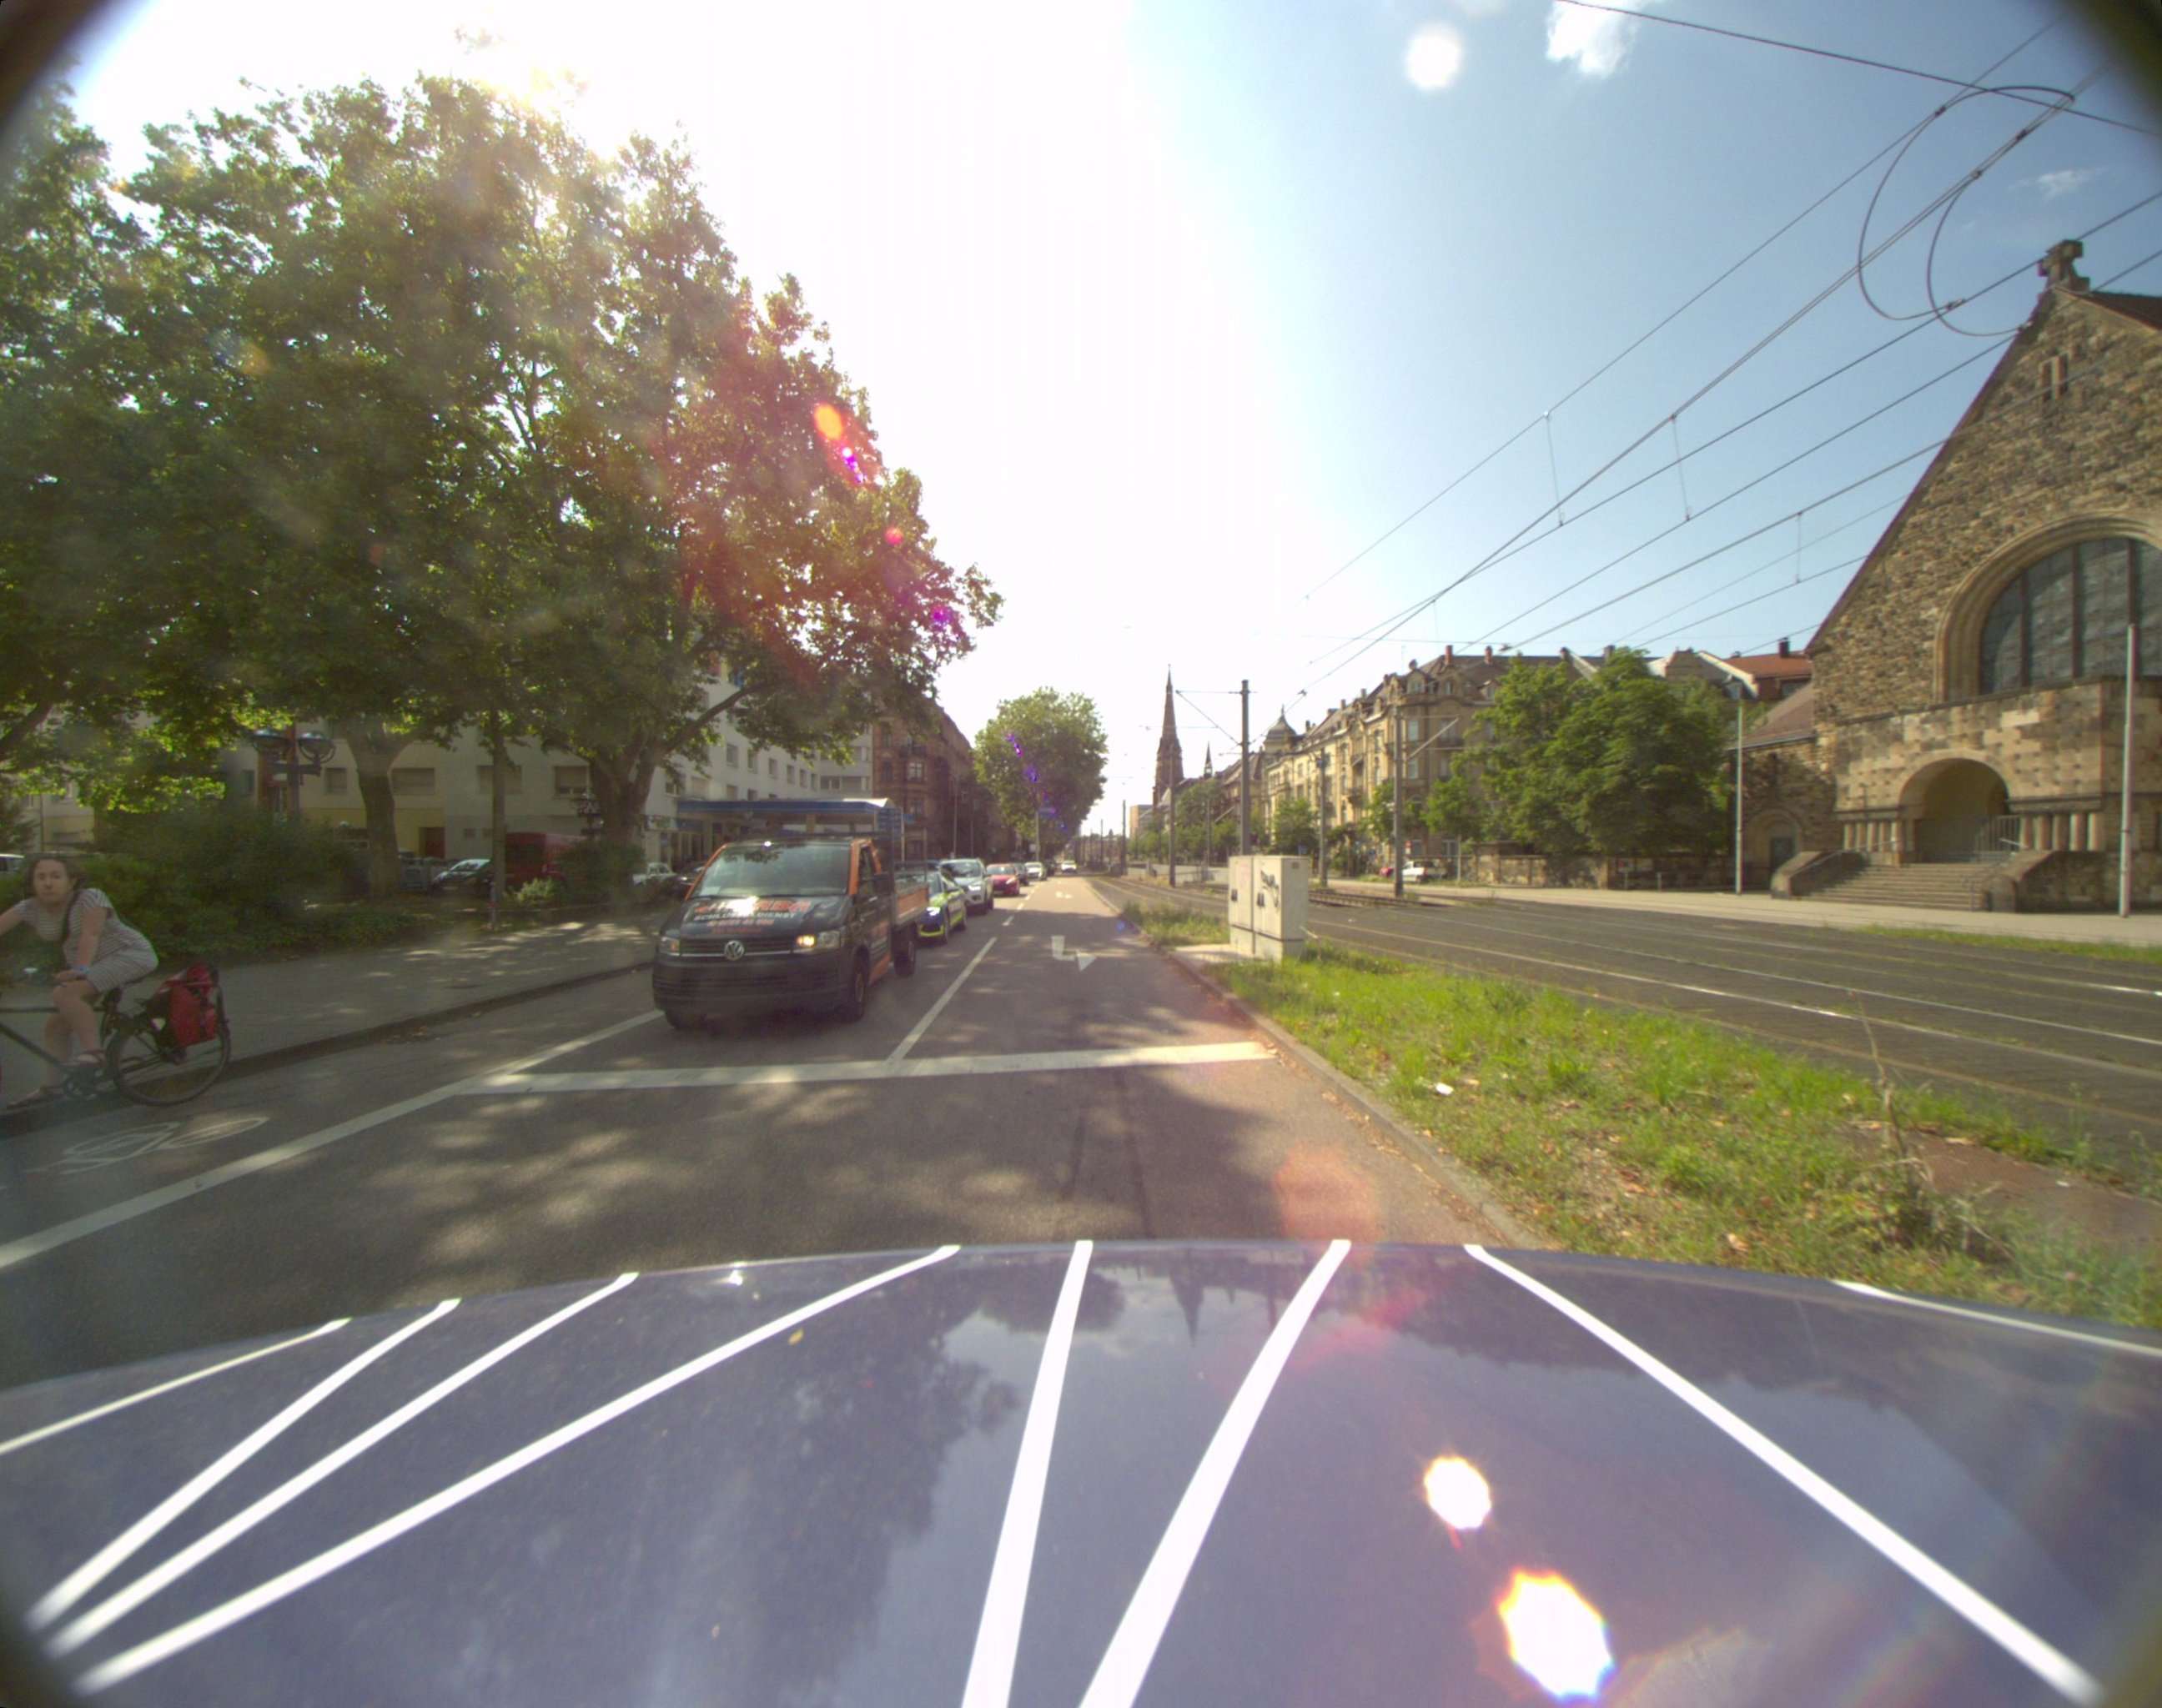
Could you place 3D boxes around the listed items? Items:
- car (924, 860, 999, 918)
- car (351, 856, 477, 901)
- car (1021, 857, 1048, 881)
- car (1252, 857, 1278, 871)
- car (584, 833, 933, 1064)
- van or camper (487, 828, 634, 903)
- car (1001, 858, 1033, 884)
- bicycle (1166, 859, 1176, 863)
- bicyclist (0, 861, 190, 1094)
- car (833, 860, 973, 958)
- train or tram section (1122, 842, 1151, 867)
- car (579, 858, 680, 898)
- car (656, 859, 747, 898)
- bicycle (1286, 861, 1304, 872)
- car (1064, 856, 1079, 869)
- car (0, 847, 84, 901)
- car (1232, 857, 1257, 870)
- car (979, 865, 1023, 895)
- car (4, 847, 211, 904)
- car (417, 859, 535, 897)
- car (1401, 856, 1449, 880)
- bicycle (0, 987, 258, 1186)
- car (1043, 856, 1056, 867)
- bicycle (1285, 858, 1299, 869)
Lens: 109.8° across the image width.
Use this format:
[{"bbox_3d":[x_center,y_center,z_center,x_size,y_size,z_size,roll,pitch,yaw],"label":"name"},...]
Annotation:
[{"bbox_3d":[-3.644,1.003,23.885,1.765,1.597,4.678,0,0,-2],"label":"car"},{"bbox_3d":[-26.065,0.892,29.879,1.530,1.594,3.999,-1,0,-3],"label":"car"},{"bbox_3d":[-3.602,1.121,59.078,1.952,1.598,5.073,0,2,-2],"label":"car"},{"bbox_3d":[20.741,1.105,85.821,1.690,1.493,4.707,-1,0,-1],"label":"car"},{"bbox_3d":[-3.262,0.734,9.173,2.080,1.975,5.333,0,2,-2],"label":"car"},{"bbox_3d":[-20.563,0.411,30.405,2.107,2.626,5.348,-2,0,0],"label":"van or camper"},{"bbox_3d":[-3.926,1.021,46.937,1.765,1.490,4.186,0,1,-2],"label":"car"},{"bbox_3d":[18.875,1.448,159.509,1.821,0.897,0.603,-2,1,-5],"label":"bicycle"},{"bbox_3d":[-6.434,0.716,4.806,0.470,1.336,0.910,0,1,7],"label":"bicyclist"},{"bbox_3d":[-3.573,1.010,16.260,1.872,1.642,5.152,-2,0,-2],"label":"car"},{"bbox_3d":[8.237,0.072,114.542,2.861,3.559,12.831,0,0,-3],"label":"train or tram section"},{"bbox_3d":[-17.695,0.897,30.007,1.757,1.402,3.999,-1,0,-3],"label":"car"},{"bbox_3d":[-14.970,0.930,30.247,1.757,1.402,3.999,-1,0,-3],"label":"car"},{"bbox_3d":[21.587,1.291,76.760,1.711,1.063,0.471,0,0,-8],"label":"bicycle"},{"bbox_3d":[-1.188,1.032,91.635,1.765,1.490,4.186,0,1,-2],"label":"car"},{"bbox_3d":[-42.565,0.814,29.145,2.000,2.074,5.250,-3,0,-6],"label":"car"},{"bbox_3d":[20.543,1.127,95.837,1.803,1.518,4.487,-2,0,-5],"label":"car"},{"bbox_3d":[-3.508,1.129,33.860,1.620,1.182,3.633,0,0,0],"label":"car"},{"bbox_3d":[-37.323,0.763,29.383,1.999,1.923,4.681,-3,0,-3],"label":"car"},{"bbox_3d":[-23.373,0.894,29.539,1.478,1.286,3.999,-3,0,-3],"label":"car"},{"bbox_3d":[22.408,0.885,49.613,1.671,1.408,3.846,2,1,7],"label":"car"},{"bbox_3d":[-6.425,1.454,4.787,0.470,0.916,1.718,0,0,7],"label":"bicycle"},{"bbox_3d":[-4.034,0.988,98.569,1.501,1.296,3.491,-2,0,0],"label":"car"},{"bbox_3d":[24.179,1.083,87.180,0.659,1.241,2.942,-3,0,-2],"label":"bicycle"}]
